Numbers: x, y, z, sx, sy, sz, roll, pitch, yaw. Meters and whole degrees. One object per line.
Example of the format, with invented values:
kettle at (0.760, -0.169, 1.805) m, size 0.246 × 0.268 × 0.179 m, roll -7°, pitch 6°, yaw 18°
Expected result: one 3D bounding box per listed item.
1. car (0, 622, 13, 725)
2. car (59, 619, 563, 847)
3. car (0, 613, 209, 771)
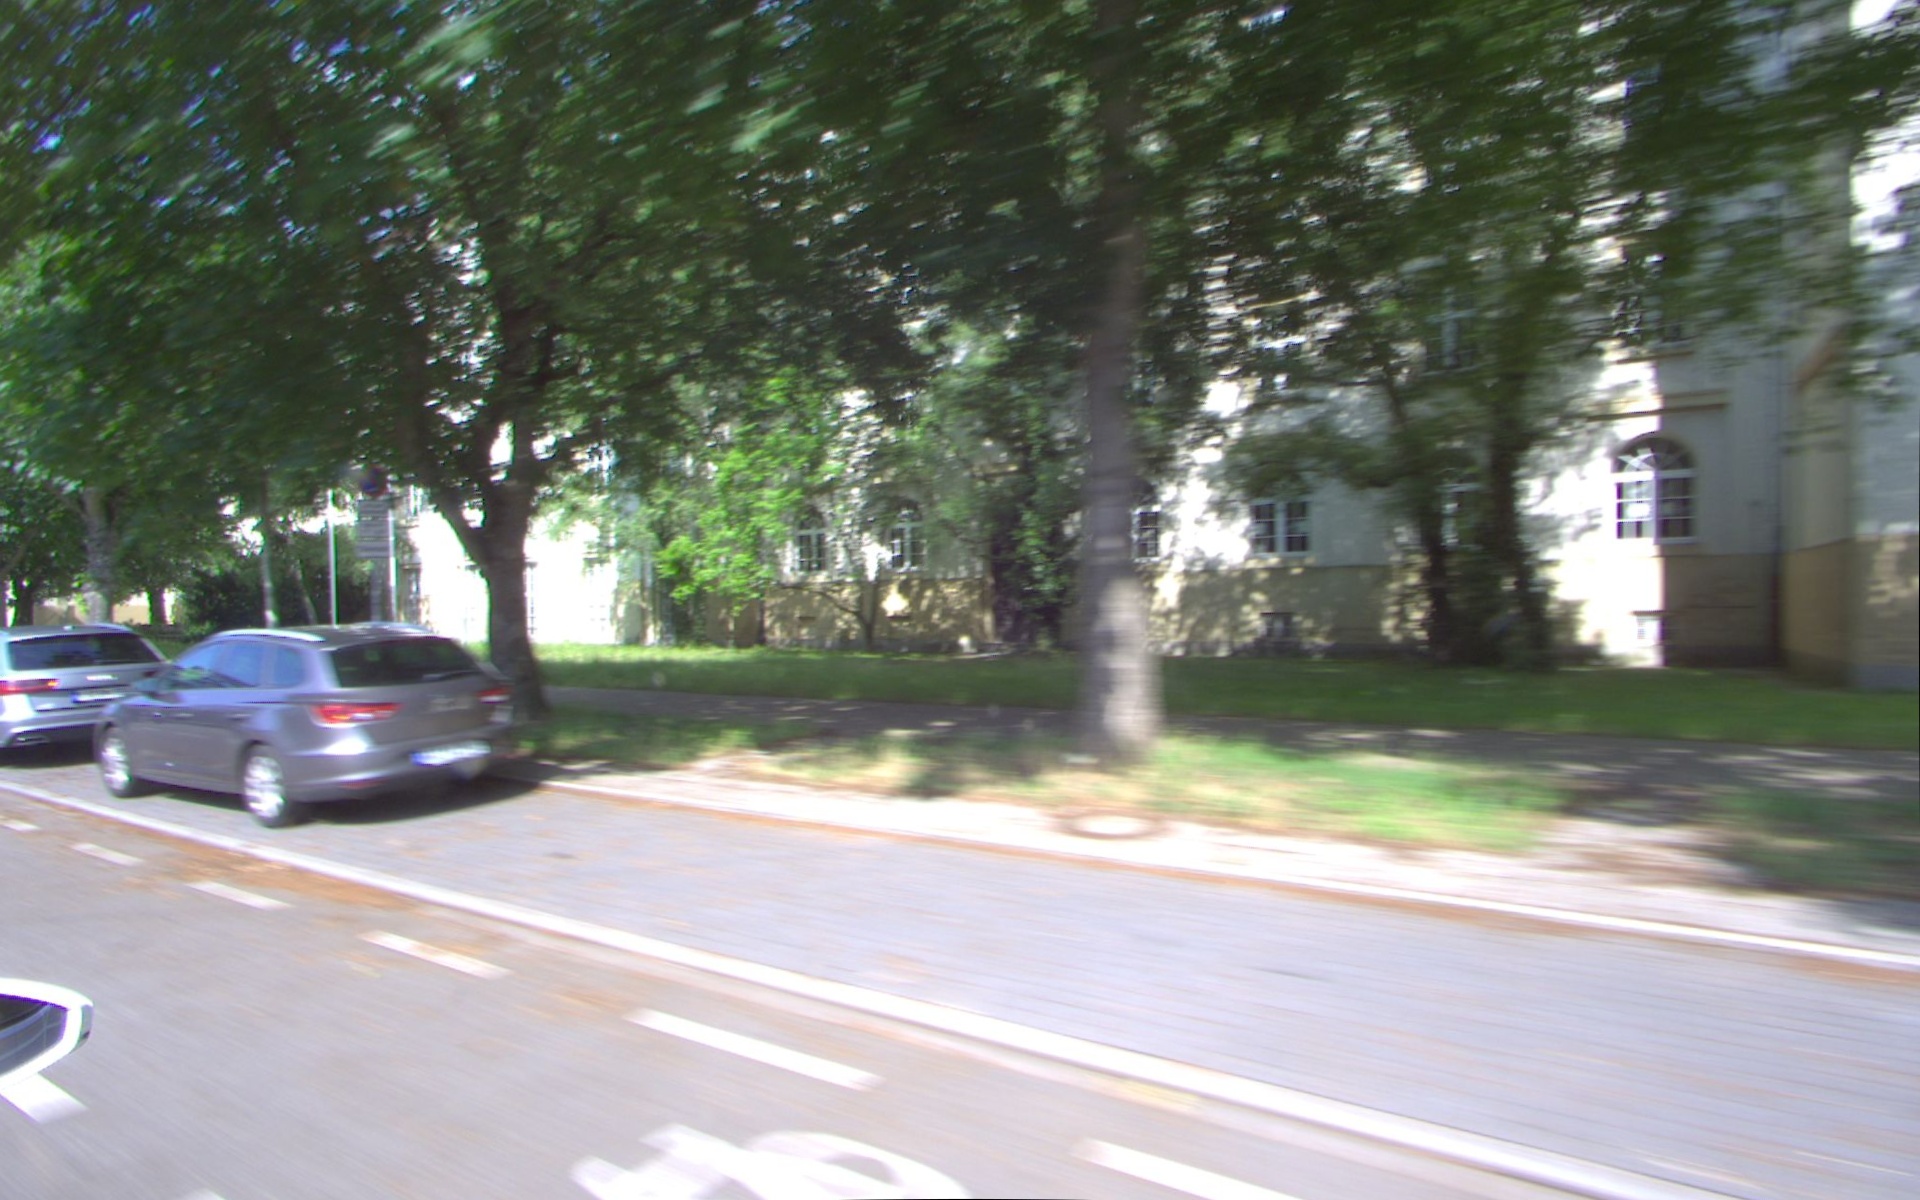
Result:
car at (-15.577, 1.083, 14.691) m, size 3.960 × 1.451 × 1.630 m, roll 0°, pitch 3°, yaw 35°
car at (-5.763, 0.940, 8.747) m, size 4.589 × 1.420 × 1.824 m, roll -1°, pitch 3°, yaw 31°
car at (-11.202, 0.946, 12.002) m, size 4.977 × 1.461 × 1.823 m, roll 0°, pitch 3°, yaw 33°
